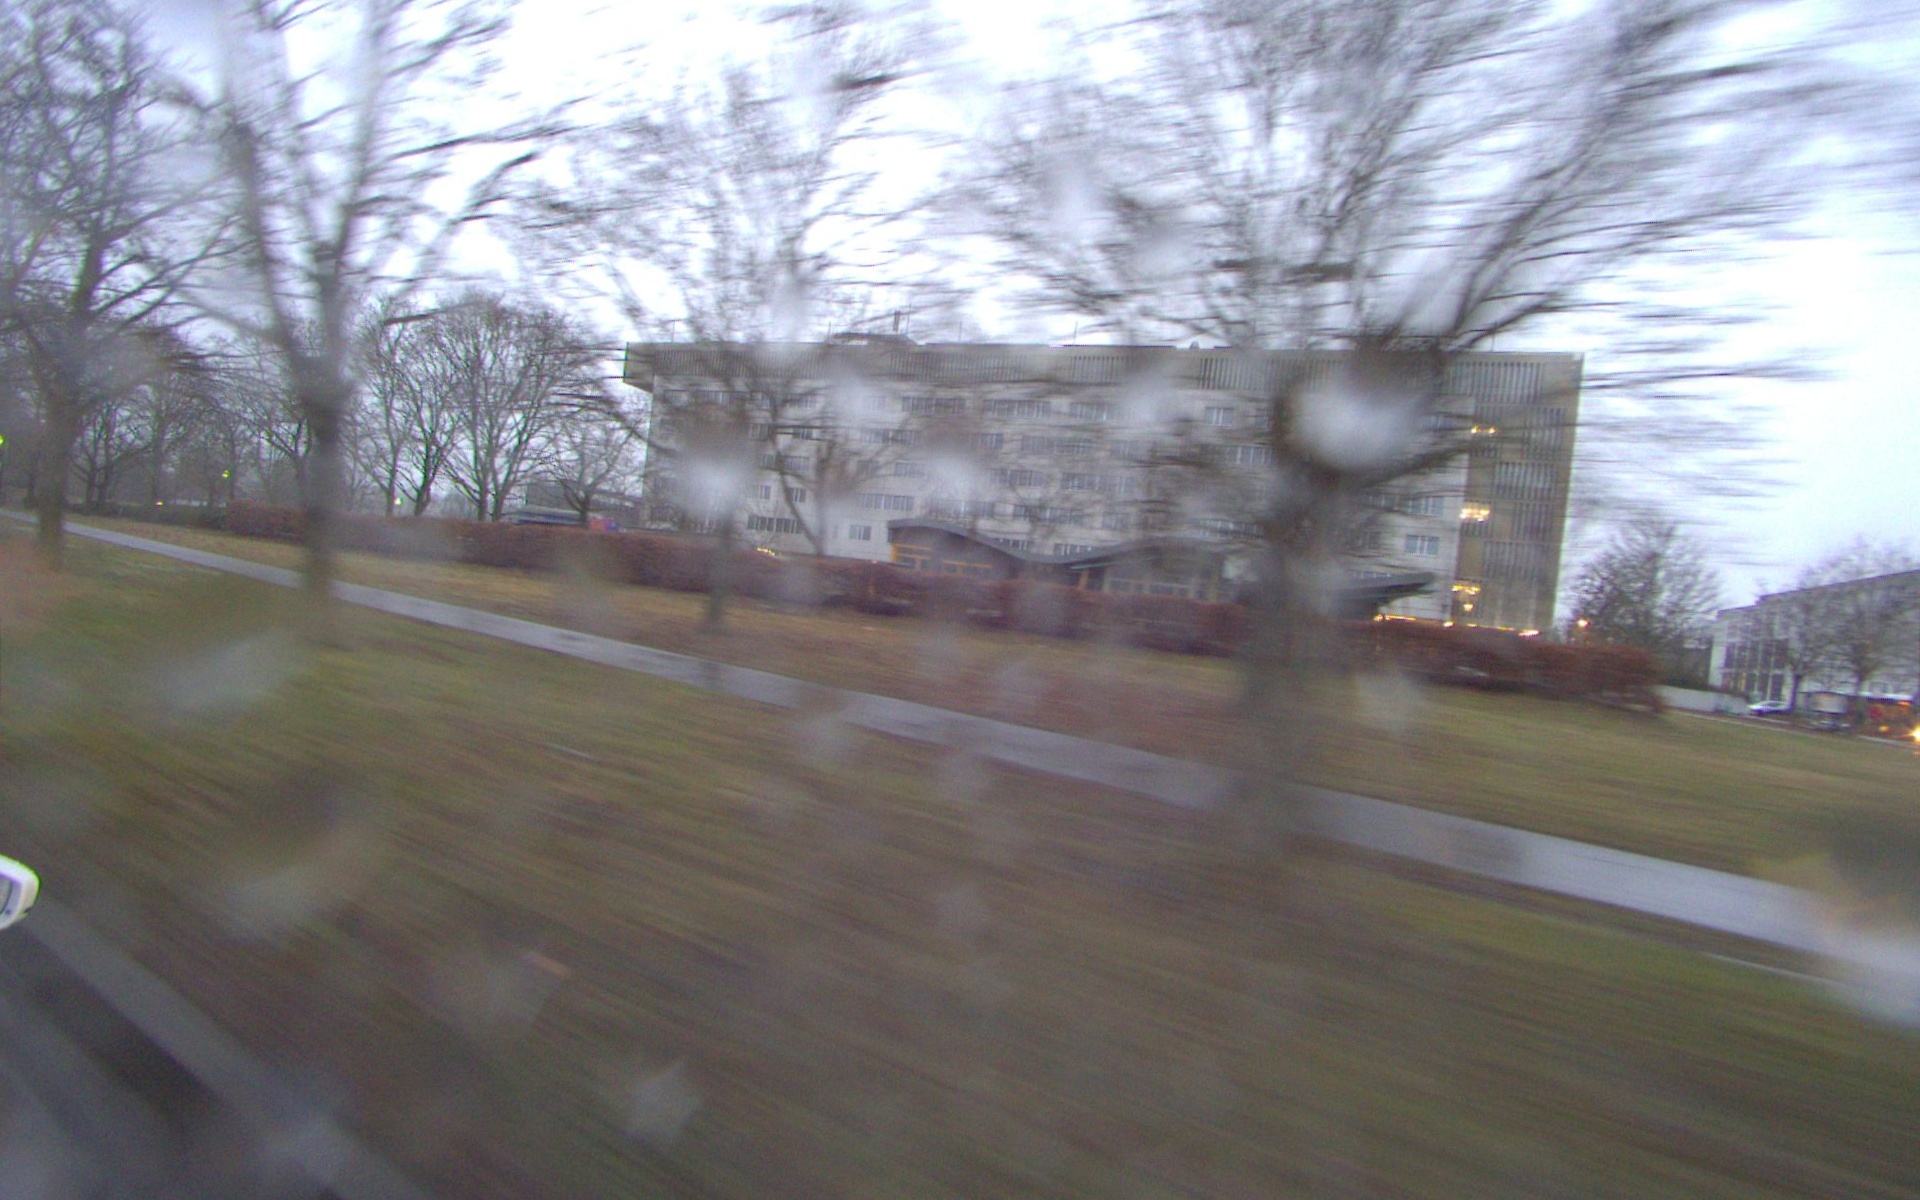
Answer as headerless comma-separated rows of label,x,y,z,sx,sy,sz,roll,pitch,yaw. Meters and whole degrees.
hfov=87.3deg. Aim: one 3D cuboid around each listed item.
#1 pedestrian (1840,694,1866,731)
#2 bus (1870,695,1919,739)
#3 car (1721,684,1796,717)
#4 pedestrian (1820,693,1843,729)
pedestrian,52.005,6.553,58.572,0.800,2.037,0.751,6,-1,24
bus,65.054,8.012,68.542,2.257,2.743,8.144,5,-2,27
car,62.156,7.799,78.396,4.212,2.037,1.997,5,-2,32
pedestrian,51.148,6.511,59.047,0.788,2.037,0.641,6,-1,29
